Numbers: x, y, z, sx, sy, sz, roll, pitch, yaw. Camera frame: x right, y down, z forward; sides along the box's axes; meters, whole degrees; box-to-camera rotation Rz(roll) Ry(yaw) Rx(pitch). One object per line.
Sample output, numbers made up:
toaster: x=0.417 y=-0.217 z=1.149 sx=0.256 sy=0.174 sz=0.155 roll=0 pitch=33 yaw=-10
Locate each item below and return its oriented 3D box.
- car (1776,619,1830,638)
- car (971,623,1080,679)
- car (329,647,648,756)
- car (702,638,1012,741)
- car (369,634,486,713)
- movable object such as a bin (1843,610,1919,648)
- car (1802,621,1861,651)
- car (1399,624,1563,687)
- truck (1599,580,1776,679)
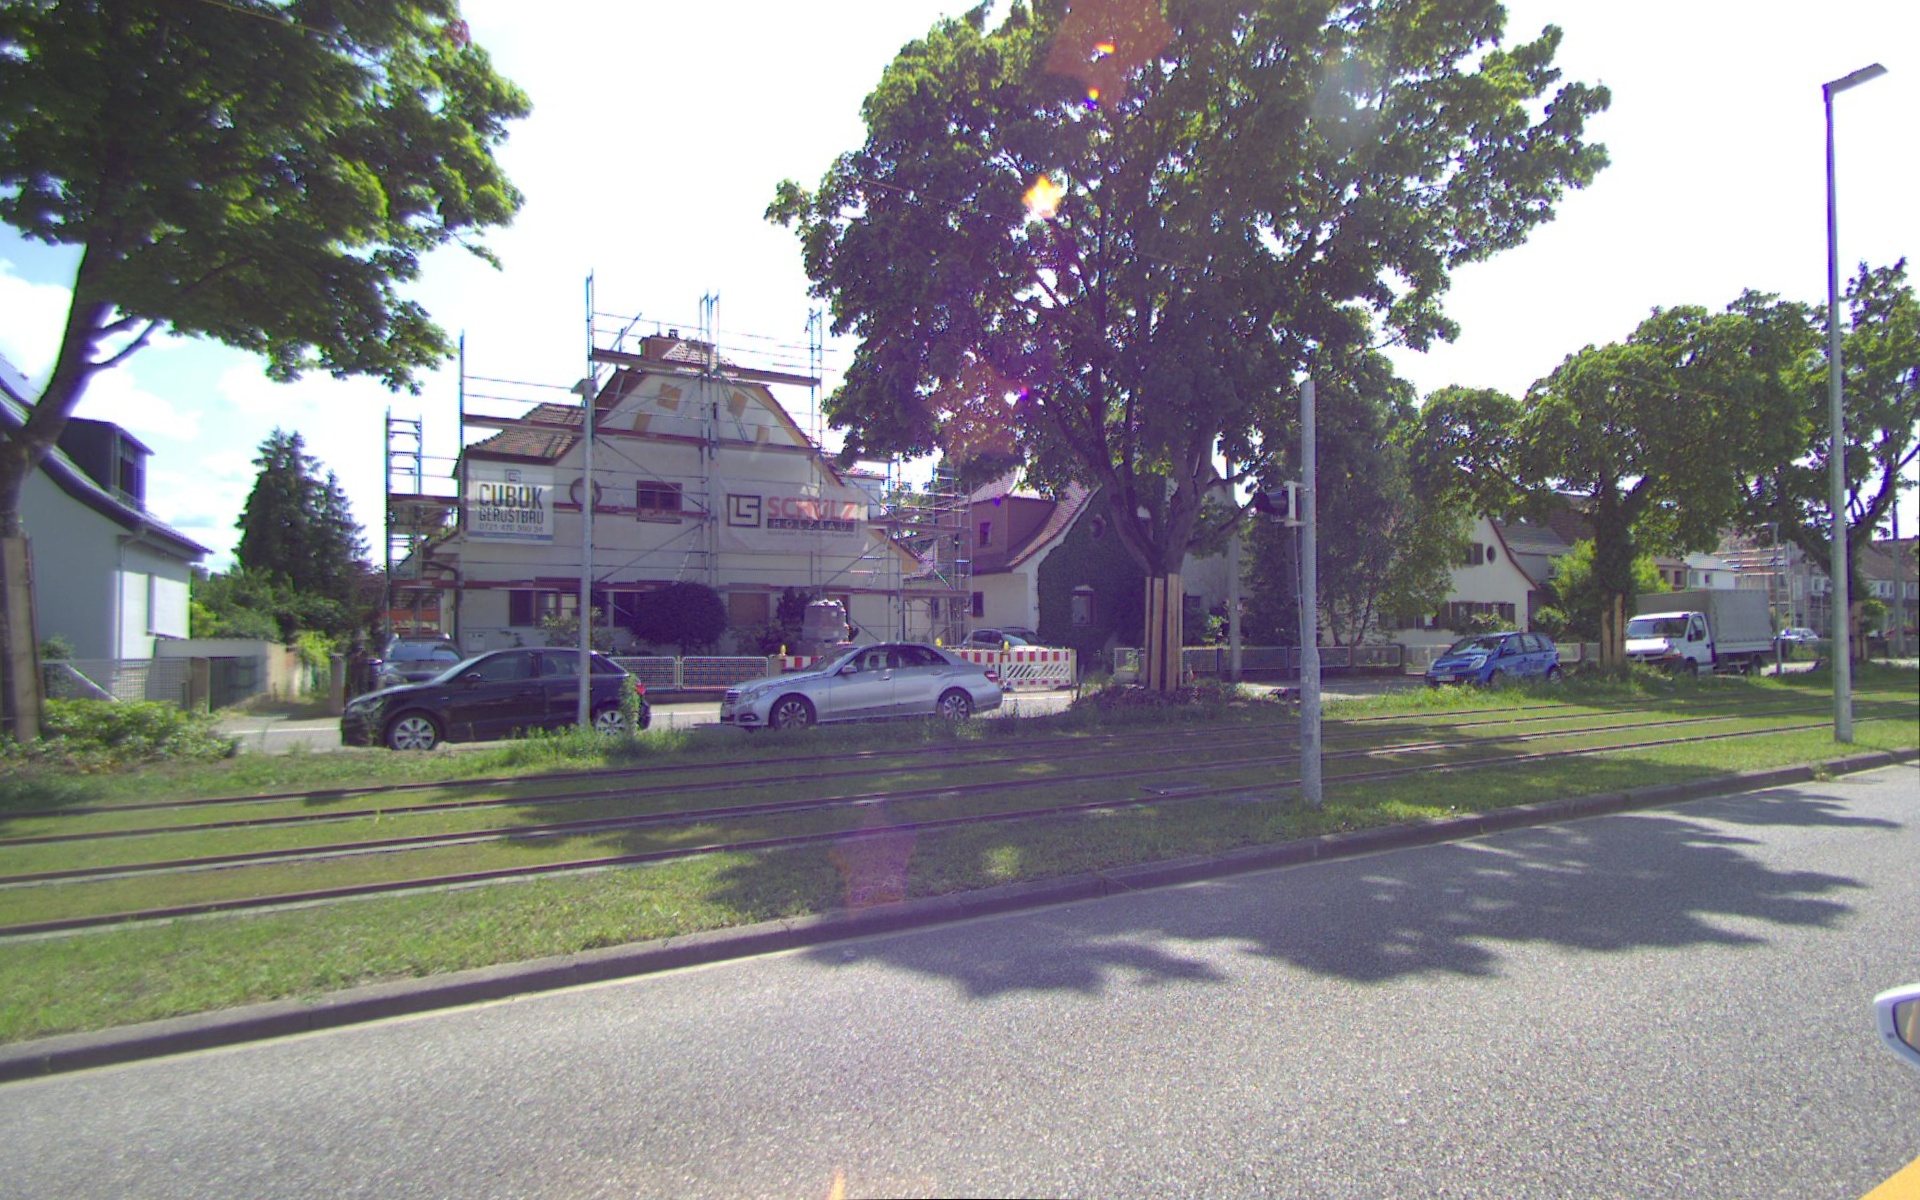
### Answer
car: x=52.002 y=1.788 z=61.960 sx=3.943 sy=1.066 sz=1.673 roll=2 pitch=-3 yaw=-36
car: x=2.066 y=1.653 z=32.608 sx=1.851 sy=1.706 sz=3.631 roll=1 pitch=-3 yaw=-30
car: x=-6.534 y=1.358 z=14.090 sx=3.807 sy=1.334 sz=1.985 roll=2 pitch=-5 yaw=-30
car: x=-1.652 y=1.409 z=16.804 sx=4.880 sy=1.502 sz=1.797 roll=1 pitch=-3 yaw=-30
car: x=-11.156 y=1.464 z=21.019 sx=1.958 sy=1.419 sz=3.969 roll=2 pitch=-2 yaw=-29
movable object such as a bin: x=62.596 y=1.983 z=67.828 sx=4.284 sy=2.481 sz=1.781 roll=-2 pitch=-2 yaw=39
car: x=50.563 y=2.105 z=58.306 sx=2.994 sy=1.744 sz=1.677 roll=2 pitch=-3 yaw=-30
car: x=13.339 y=1.403 z=25.666 sx=3.955 sy=1.472 sz=1.983 roll=2 pitch=-3 yaw=-32
truck: x=22.612 y=0.935 z=31.136 sx=6.202 sy=2.803 sz=1.985 roll=0 pitch=-5 yaw=-30
